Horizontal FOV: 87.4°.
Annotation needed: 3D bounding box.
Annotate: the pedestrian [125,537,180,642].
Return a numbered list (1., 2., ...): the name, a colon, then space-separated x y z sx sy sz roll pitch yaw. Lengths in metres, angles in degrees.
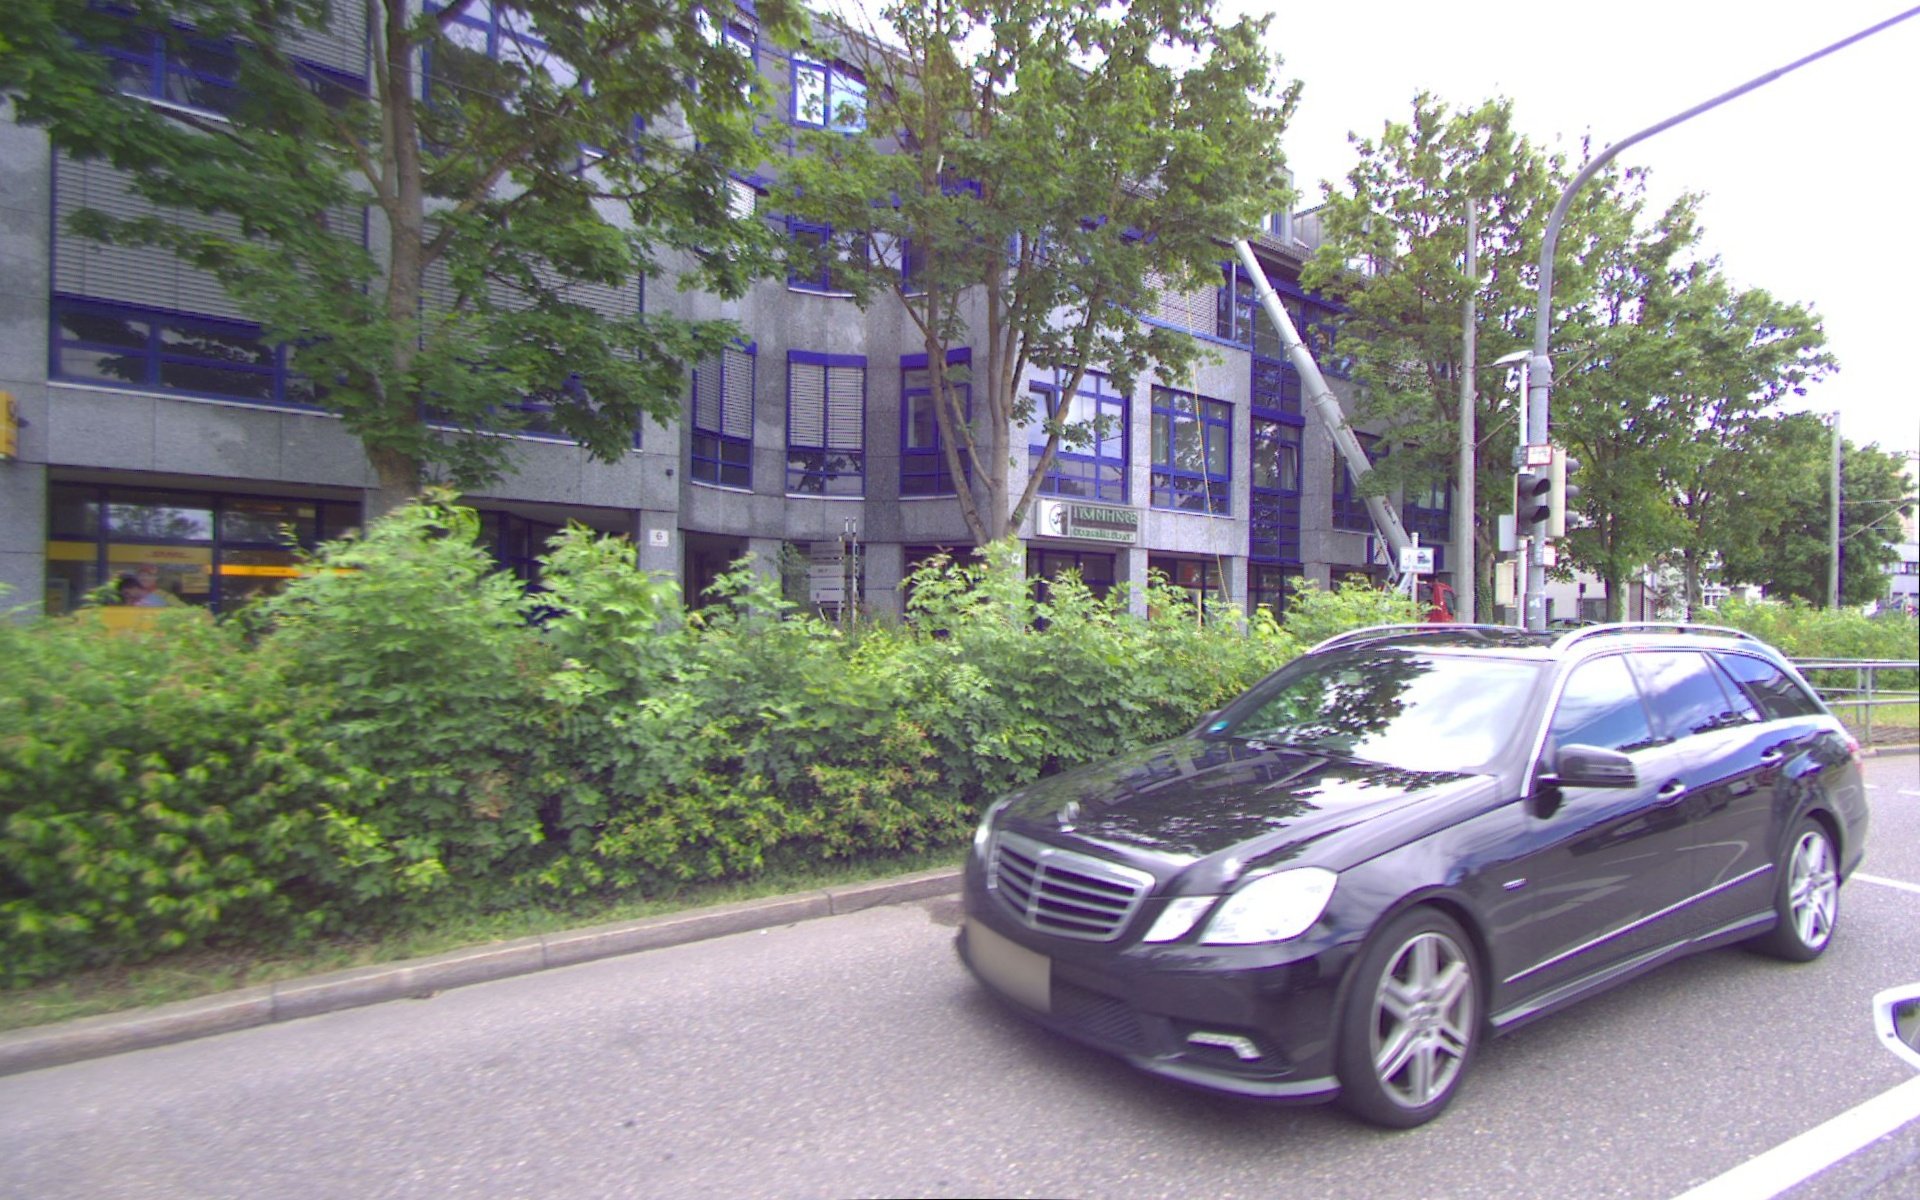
1. pedestrian: -10.660 -0.137 13.261 0.554 1.352 0.361 0 3 -42

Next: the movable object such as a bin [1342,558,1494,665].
1. movable object such as a bin: 12.148 0.273 26.542 4.090 2.566 1.890 1 3 -38

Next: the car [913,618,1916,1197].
1. car: 2.259 0.844 4.545 4.651 1.455 1.836 1 -2 -31
